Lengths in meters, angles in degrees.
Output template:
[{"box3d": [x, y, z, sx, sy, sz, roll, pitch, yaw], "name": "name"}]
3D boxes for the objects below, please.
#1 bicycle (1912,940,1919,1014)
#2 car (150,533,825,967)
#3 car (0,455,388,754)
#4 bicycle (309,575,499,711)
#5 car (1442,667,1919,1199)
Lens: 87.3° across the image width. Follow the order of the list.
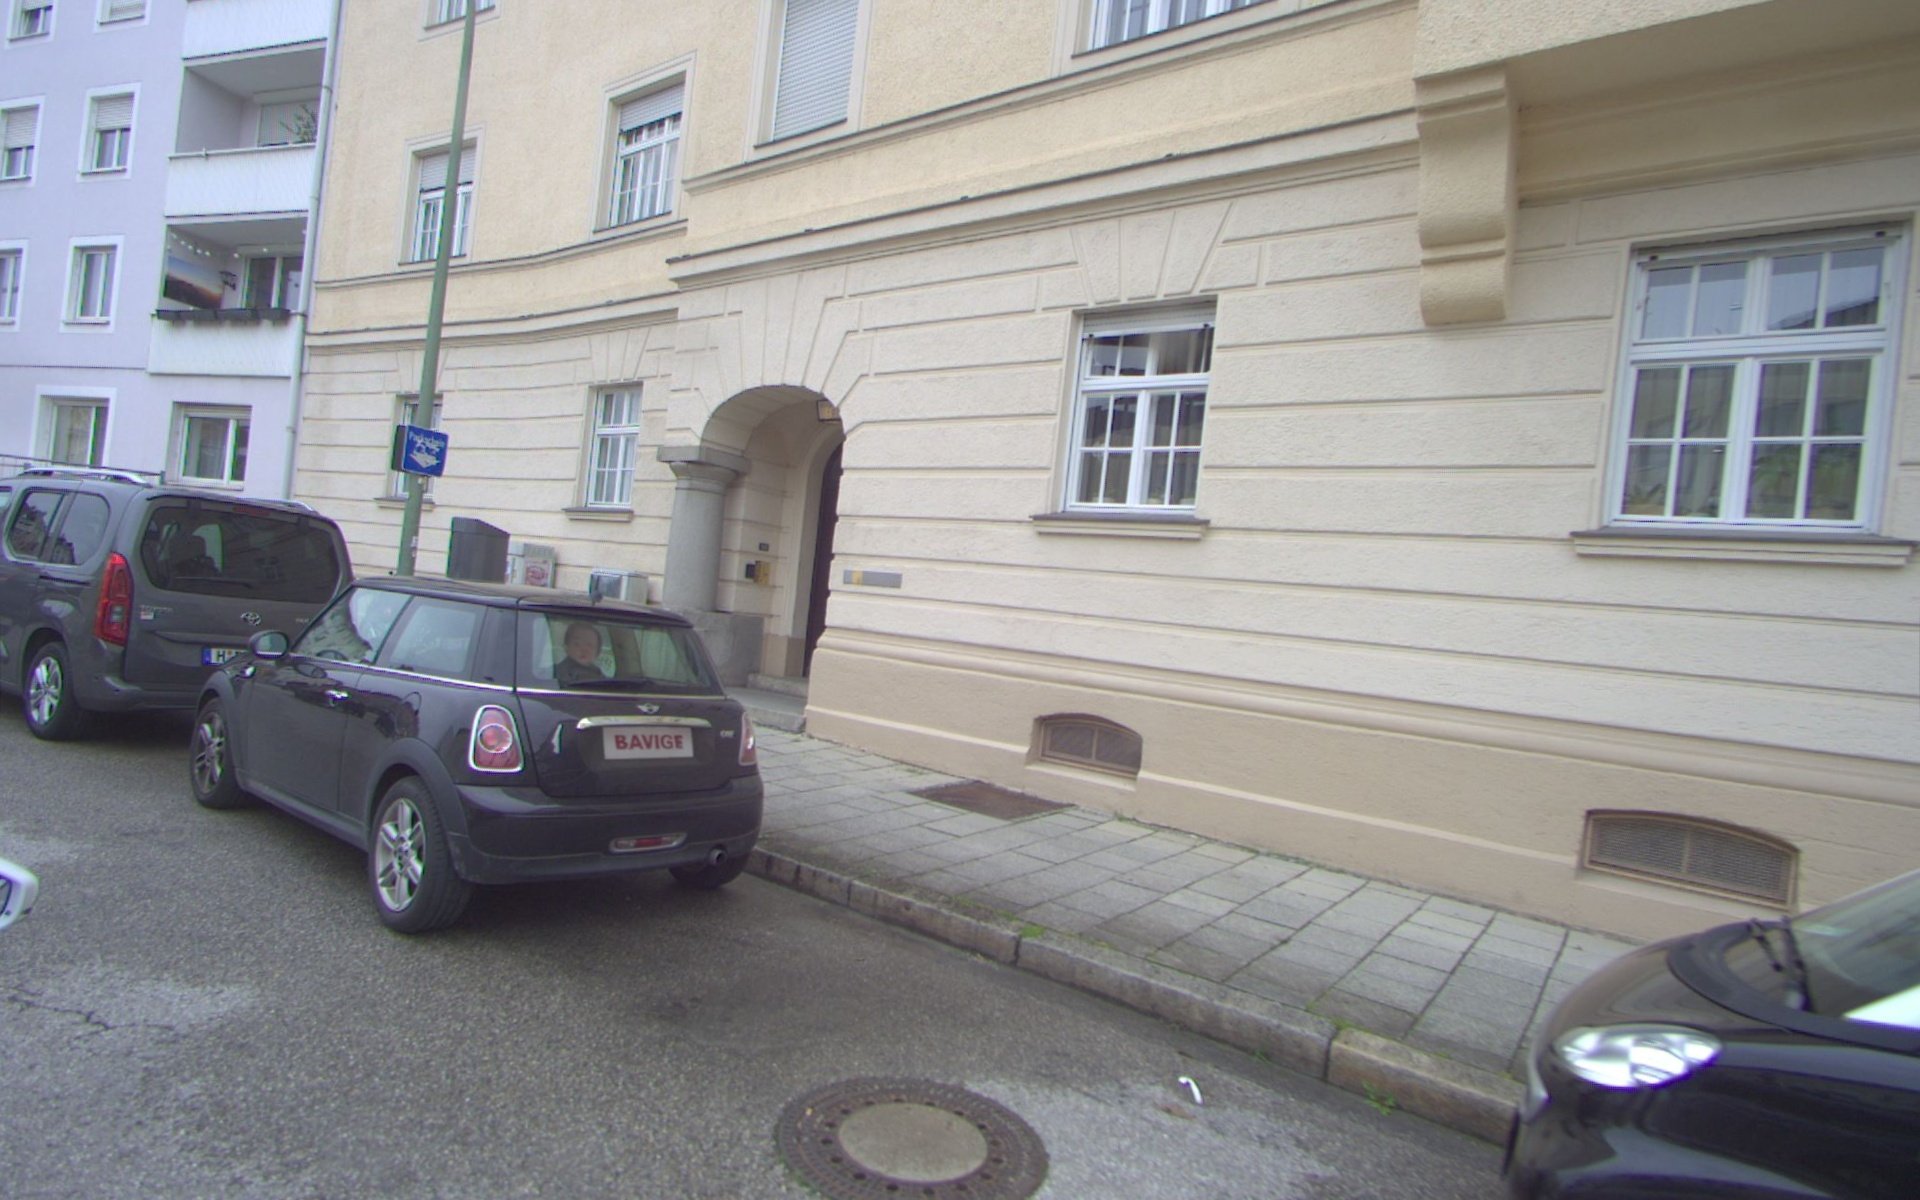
[{"box3d": [5.209, 1.450, 3.991, 1.923, 1.097, 0.578, 6, 2, 37], "name": "bicycle"}, {"box3d": [-2.750, 0.563, 5.514, 3.773, 1.464, 1.709, 6, -3, 38], "name": "car"}, {"box3d": [-6.804, -0.064, 8.032, 4.202, 1.827, 1.782, 6, -2, 29], "name": "car"}, {"box3d": [-5.240, 0.381, 9.445, 1.920, 1.027, 0.580, 6, 0, 30], "name": "bicycle"}, {"box3d": [2.713, 1.110, 1.779, 3.065, 1.541, 1.535, 6, -2, 38], "name": "car"}]
